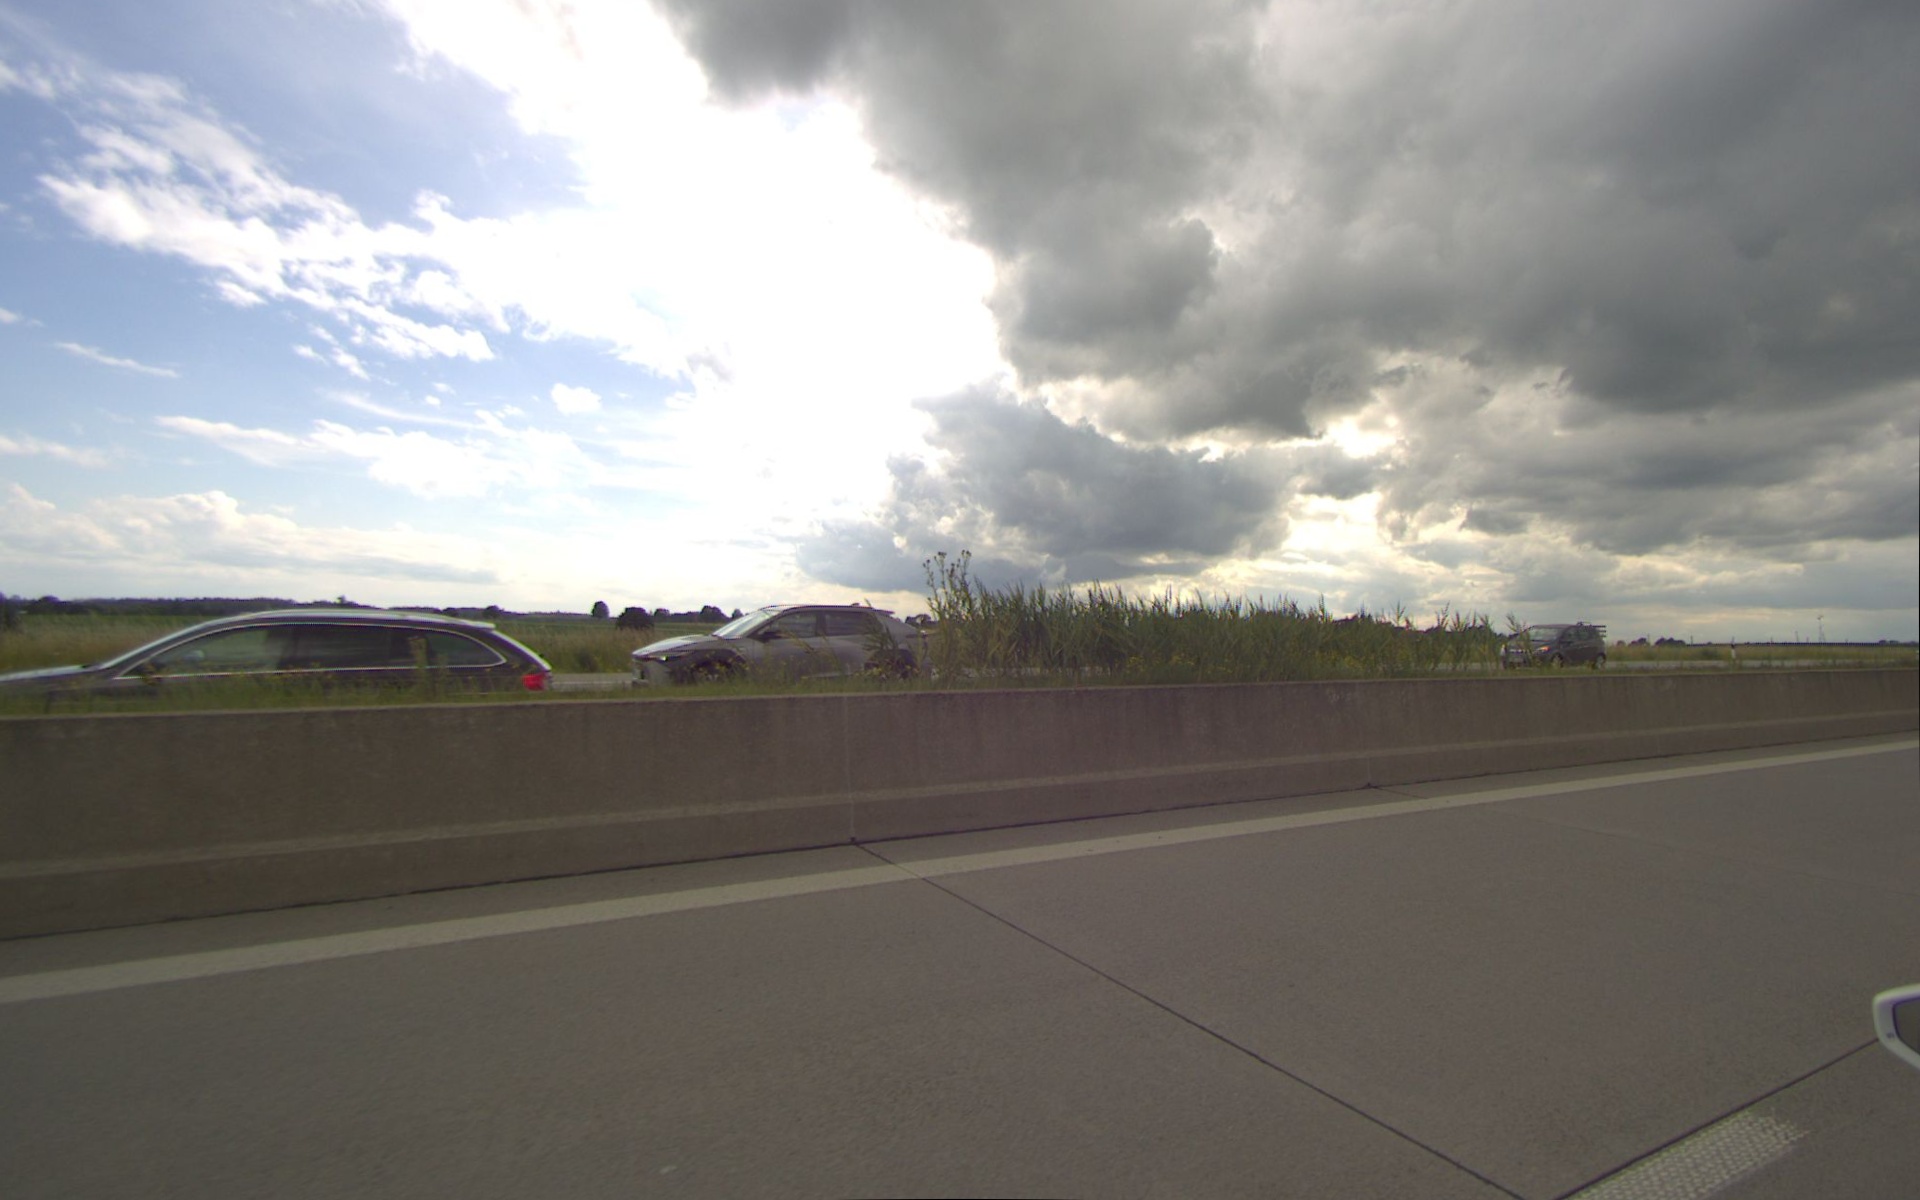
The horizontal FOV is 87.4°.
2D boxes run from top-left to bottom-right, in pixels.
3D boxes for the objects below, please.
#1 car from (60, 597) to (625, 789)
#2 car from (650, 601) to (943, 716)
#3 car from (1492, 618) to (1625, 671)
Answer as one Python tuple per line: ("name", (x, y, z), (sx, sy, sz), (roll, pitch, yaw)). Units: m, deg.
("car", (-5.479, 0.763, 9.457), (4.173, 1.479, 1.565), (2, -1, -30))
("car", (-2.490, 0.852, 15.583), (4.173, 1.588, 1.648), (2, -1, -30))
("car", (20.346, 1.492, 34.099), (4.885, 1.662, 1.741), (1, 0, -30))
